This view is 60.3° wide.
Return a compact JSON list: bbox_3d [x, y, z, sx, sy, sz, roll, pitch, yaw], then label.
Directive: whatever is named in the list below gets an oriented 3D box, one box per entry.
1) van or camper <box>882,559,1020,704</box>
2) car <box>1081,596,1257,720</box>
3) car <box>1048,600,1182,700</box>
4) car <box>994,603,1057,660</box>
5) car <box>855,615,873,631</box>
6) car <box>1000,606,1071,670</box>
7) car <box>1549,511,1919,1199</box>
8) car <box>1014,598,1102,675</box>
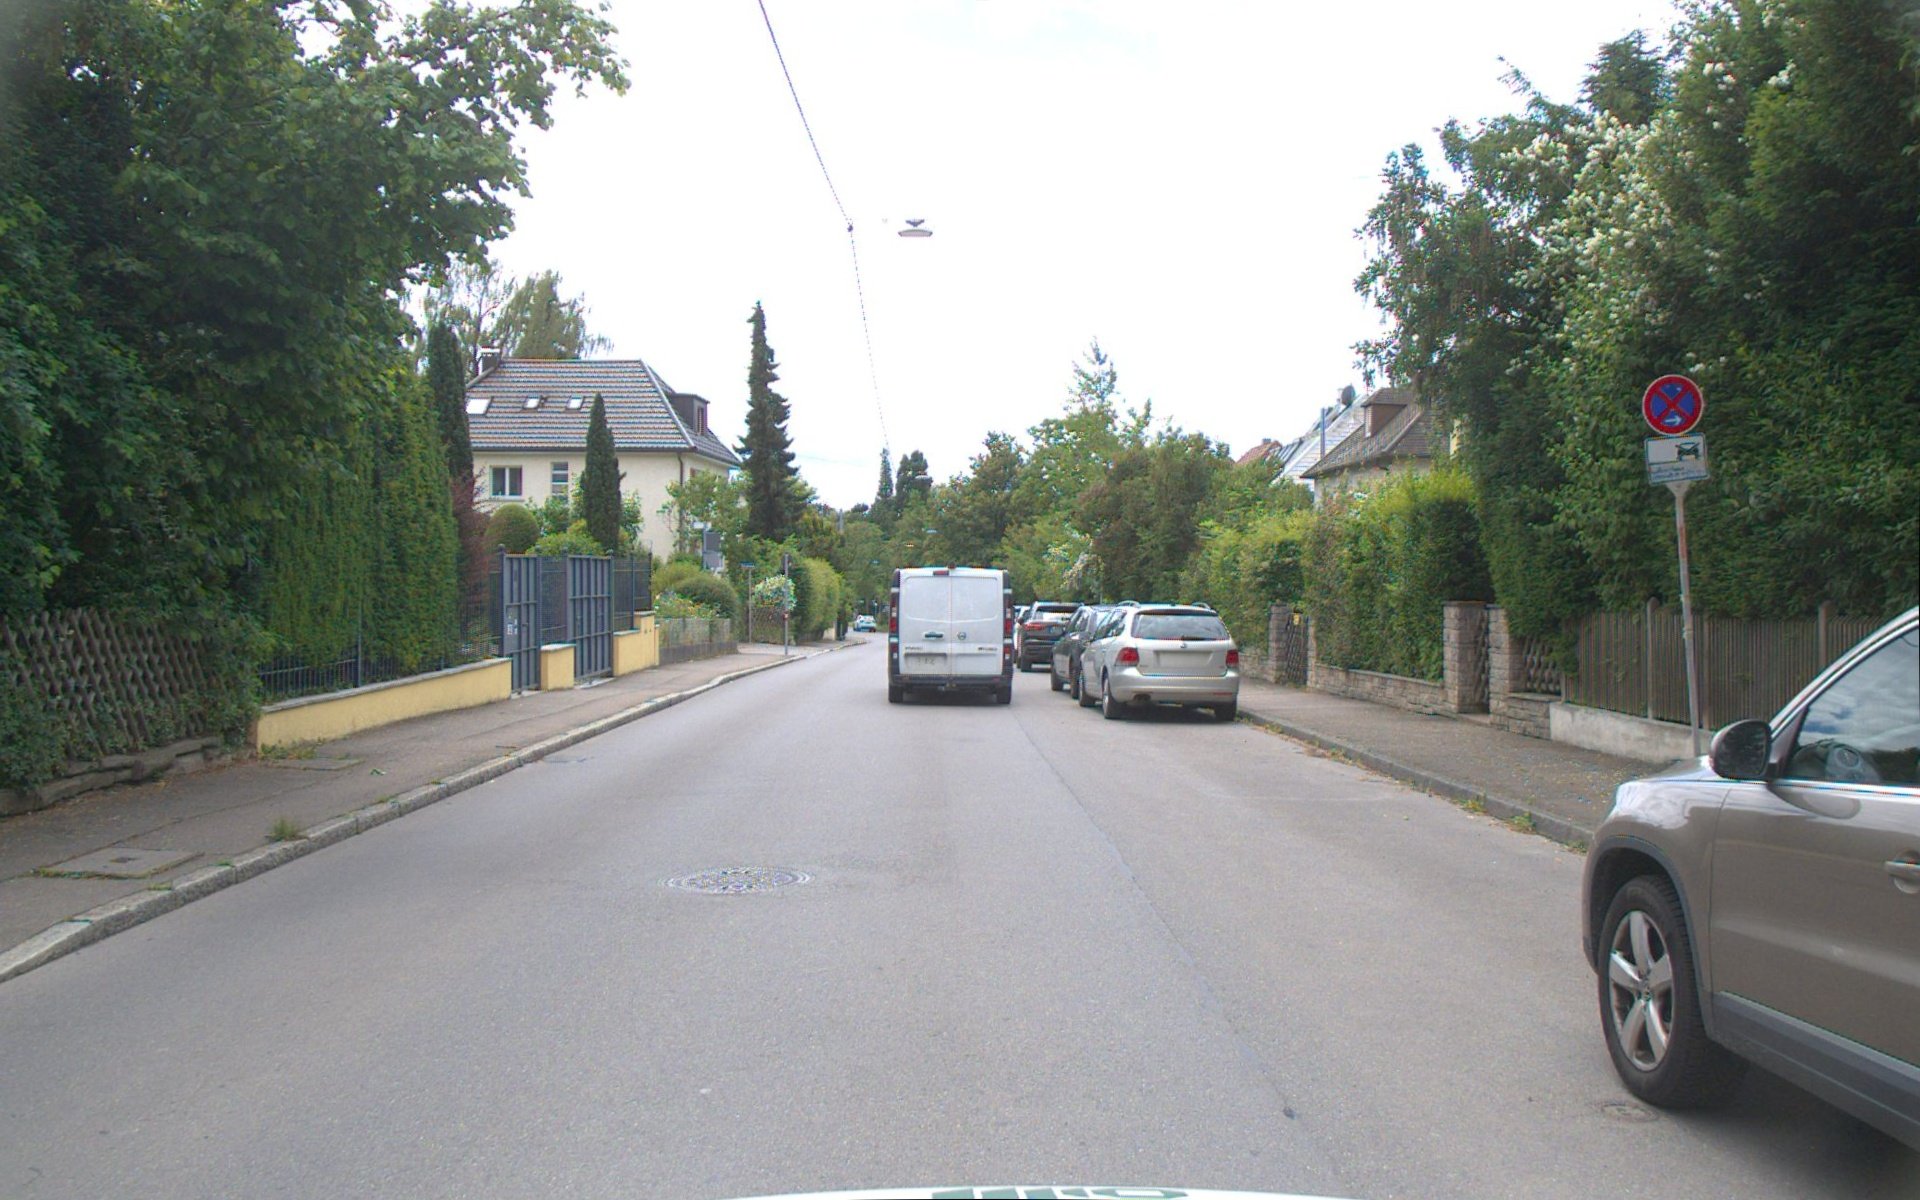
[{"bbox_3d":[-0.193,0.440,25.618,1.900,1.988,4.763,1,0,-2],"label":"van or camper"},{"bbox_3d":[2.704,0.698,22.260,1.709,1.472,4.258,0,1,-2],"label":"car"},{"bbox_3d":[2.484,0.766,27.483,1.709,1.472,4.258,0,1,-2],"label":"car"},{"bbox_3d":[2.043,0.968,52.439,1.709,1.658,4.258,0,1,-2],"label":"car"},{"bbox_3d":[-9.680,2.288,166.776,1.709,1.552,4.011,0,1,-2],"label":"car"},{"bbox_3d":[2.106,1.030,47.003,1.709,1.658,4.258,0,1,-2],"label":"car"},{"bbox_3d":[2.972,0.652,3.717,1.709,1.704,4.184,0,1,-2],"label":"car"},{"bbox_3d":[2.255,0.810,38.927,1.709,1.658,4.258,0,1,-2],"label":"car"}]
